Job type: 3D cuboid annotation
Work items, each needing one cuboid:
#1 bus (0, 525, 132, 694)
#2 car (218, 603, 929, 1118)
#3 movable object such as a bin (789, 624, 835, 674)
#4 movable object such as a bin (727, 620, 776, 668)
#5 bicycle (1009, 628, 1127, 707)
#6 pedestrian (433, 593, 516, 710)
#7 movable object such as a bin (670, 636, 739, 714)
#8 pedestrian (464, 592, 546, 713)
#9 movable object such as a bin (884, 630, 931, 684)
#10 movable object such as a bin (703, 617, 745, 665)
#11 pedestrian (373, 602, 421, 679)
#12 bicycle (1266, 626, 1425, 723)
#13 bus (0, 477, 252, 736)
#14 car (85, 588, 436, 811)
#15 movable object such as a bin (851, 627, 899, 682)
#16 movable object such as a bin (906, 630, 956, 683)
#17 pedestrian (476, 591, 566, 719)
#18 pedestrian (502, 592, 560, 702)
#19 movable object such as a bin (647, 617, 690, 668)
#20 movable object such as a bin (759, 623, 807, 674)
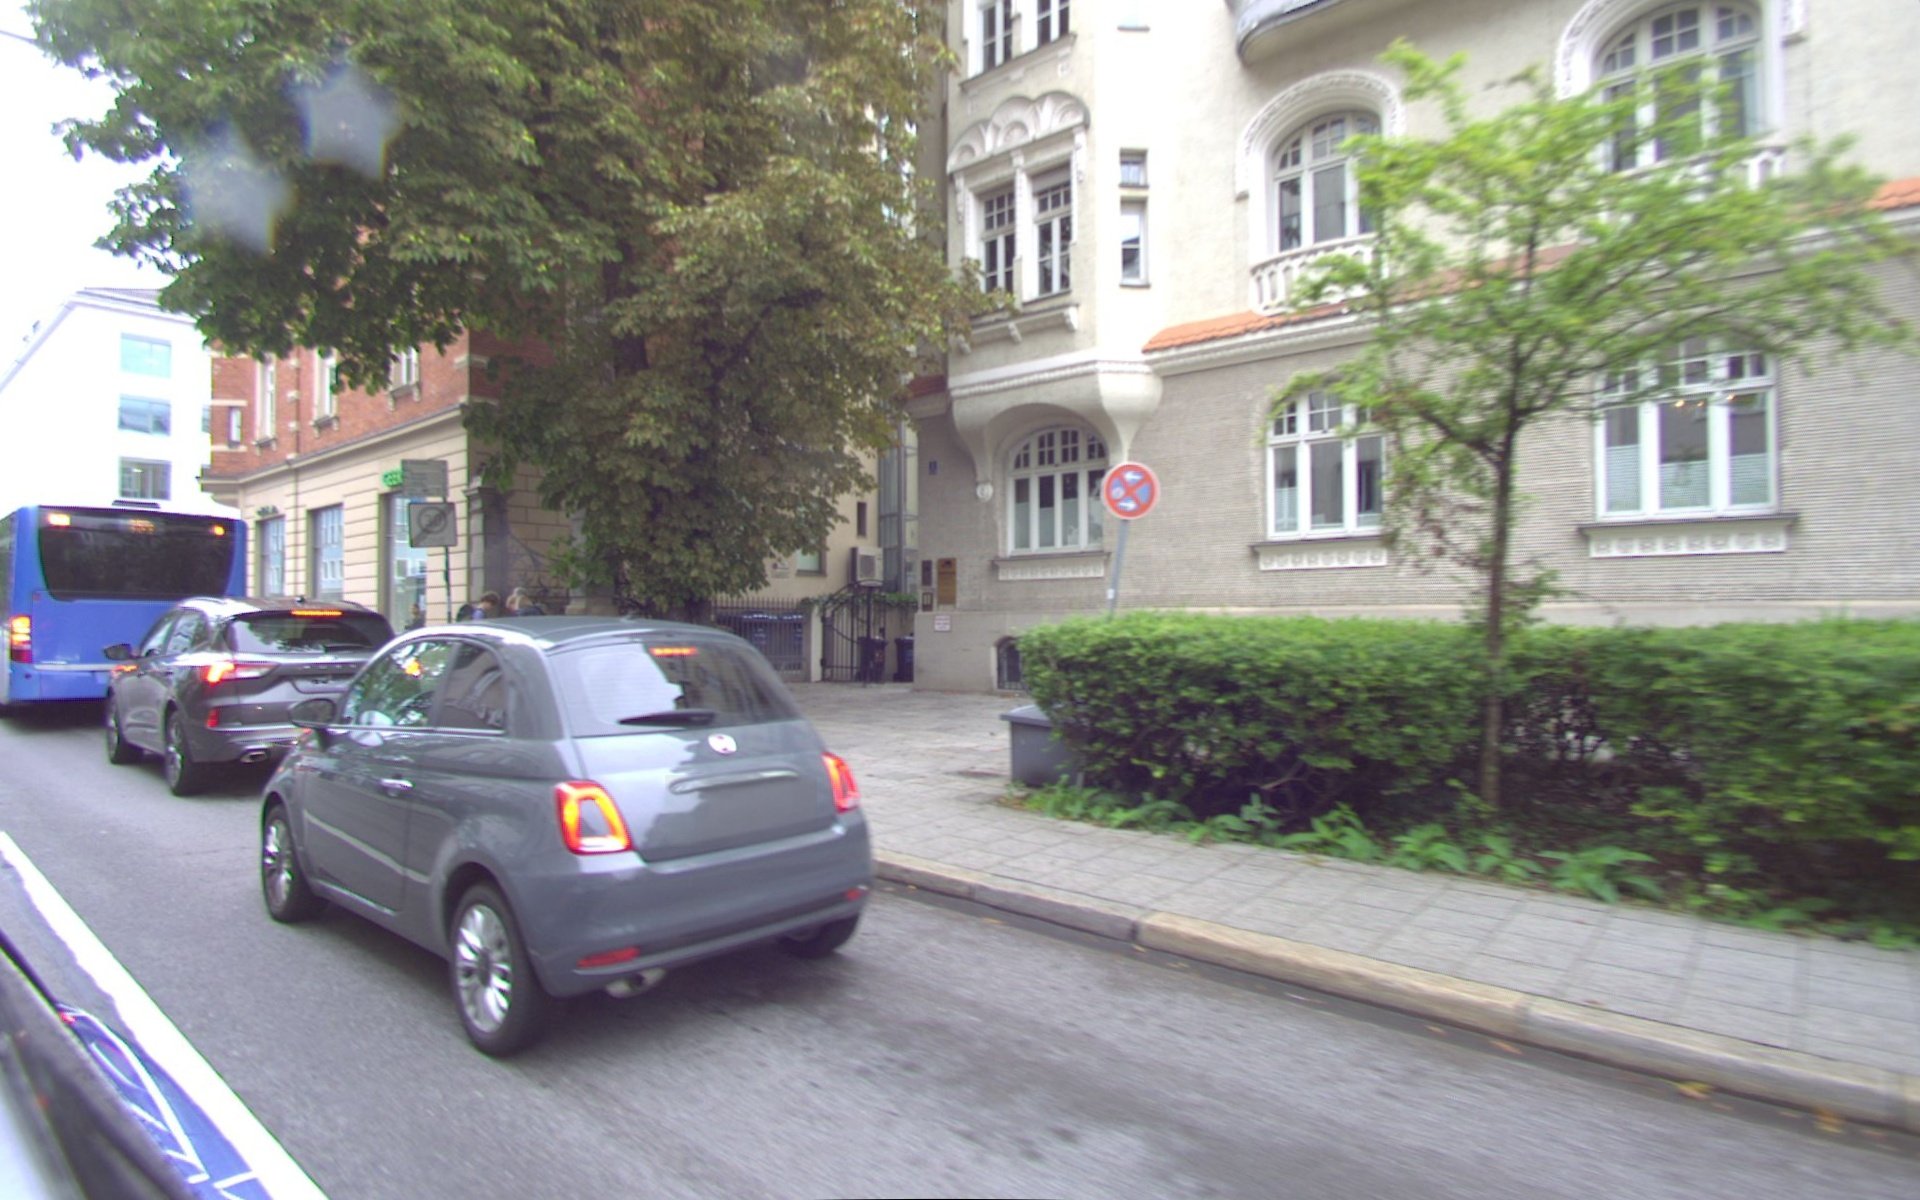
[{"bbox_3d":[-20.683,0.259,22.190,9.106,3.124,2.552,-1,-2,42],"label":"bus"},{"bbox_3d":[-2.055,0.801,4.796,3.781,1.490,1.567,-1,-2,41],"label":"car"},{"bbox_3d":[-3.710,1.213,25.358,0.844,1.221,0.814,0,-1,-45],"label":"movable object such as a bin"},{"bbox_3d":[-4.964,1.031,24.058,0.844,1.100,0.814,0,-1,-45],"label":"movable object such as a bin"},{"bbox_3d":[1.673,1.026,15.876,1.833,1.172,0.611,-1,-2,40],"label":"bicycle"},{"bbox_3d":[-7.571,0.785,15.800,0.910,1.758,0.864,-1,-2,41],"label":"pedestrian"},{"bbox_3d":[-3.798,1.102,15.062,0.622,1.094,0.804,-1,-1,32],"label":"movable object such as a bin"},{"bbox_3d":[-6.857,0.769,15.266,0.786,1.758,0.864,-1,-2,41],"label":"pedestrian"},{"bbox_3d":[-1.110,1.194,21.449,0.614,1.094,0.814,0,-1,-45],"label":"movable object such as a bin"},{"bbox_3d":[-5.473,0.941,23.471,0.614,1.094,0.814,0,-1,-45],"label":"movable object such as a bin"},{"bbox_3d":[-11.603,0.829,20.862,0.753,1.550,0.618,-1,-2,39],"label":"pedestrian"},{"bbox_3d":[4.977,0.929,13.154,1.833,1.172,0.611,-1,-2,40],"label":"bicycle"},{"bbox_3d":[-14.053,0.179,16.164,8.921,3.124,2.552,-1,-2,42],"label":"bus"},{"bbox_3d":[-6.783,0.795,9.626,4.272,1.657,1.749,-1,-2,41],"label":"car"},{"bbox_3d":[-1.749,1.115,20.861,0.614,1.094,0.814,0,-1,-45],"label":"movable object such as a bin"},{"bbox_3d":[-0.637,1.219,22.048,0.722,1.094,0.814,0,-1,-45],"label":"movable object such as a bin"},{"bbox_3d":[-6.320,0.773,14.573,0.846,1.758,0.898,-1,-2,41],"label":"pedestrian"},{"bbox_3d":[-7.034,0.756,16.624,0.773,1.758,0.878,1,-2,-17],"label":"pedestrian"},{"bbox_3d":[-6.462,0.937,22.447,0.614,1.094,0.814,0,-1,-45],"label":"movable object such as a bin"},{"bbox_3d":[-4.327,1.170,24.697,0.844,1.221,0.814,0,-1,-45],"label":"movable object such as a bin"}]
